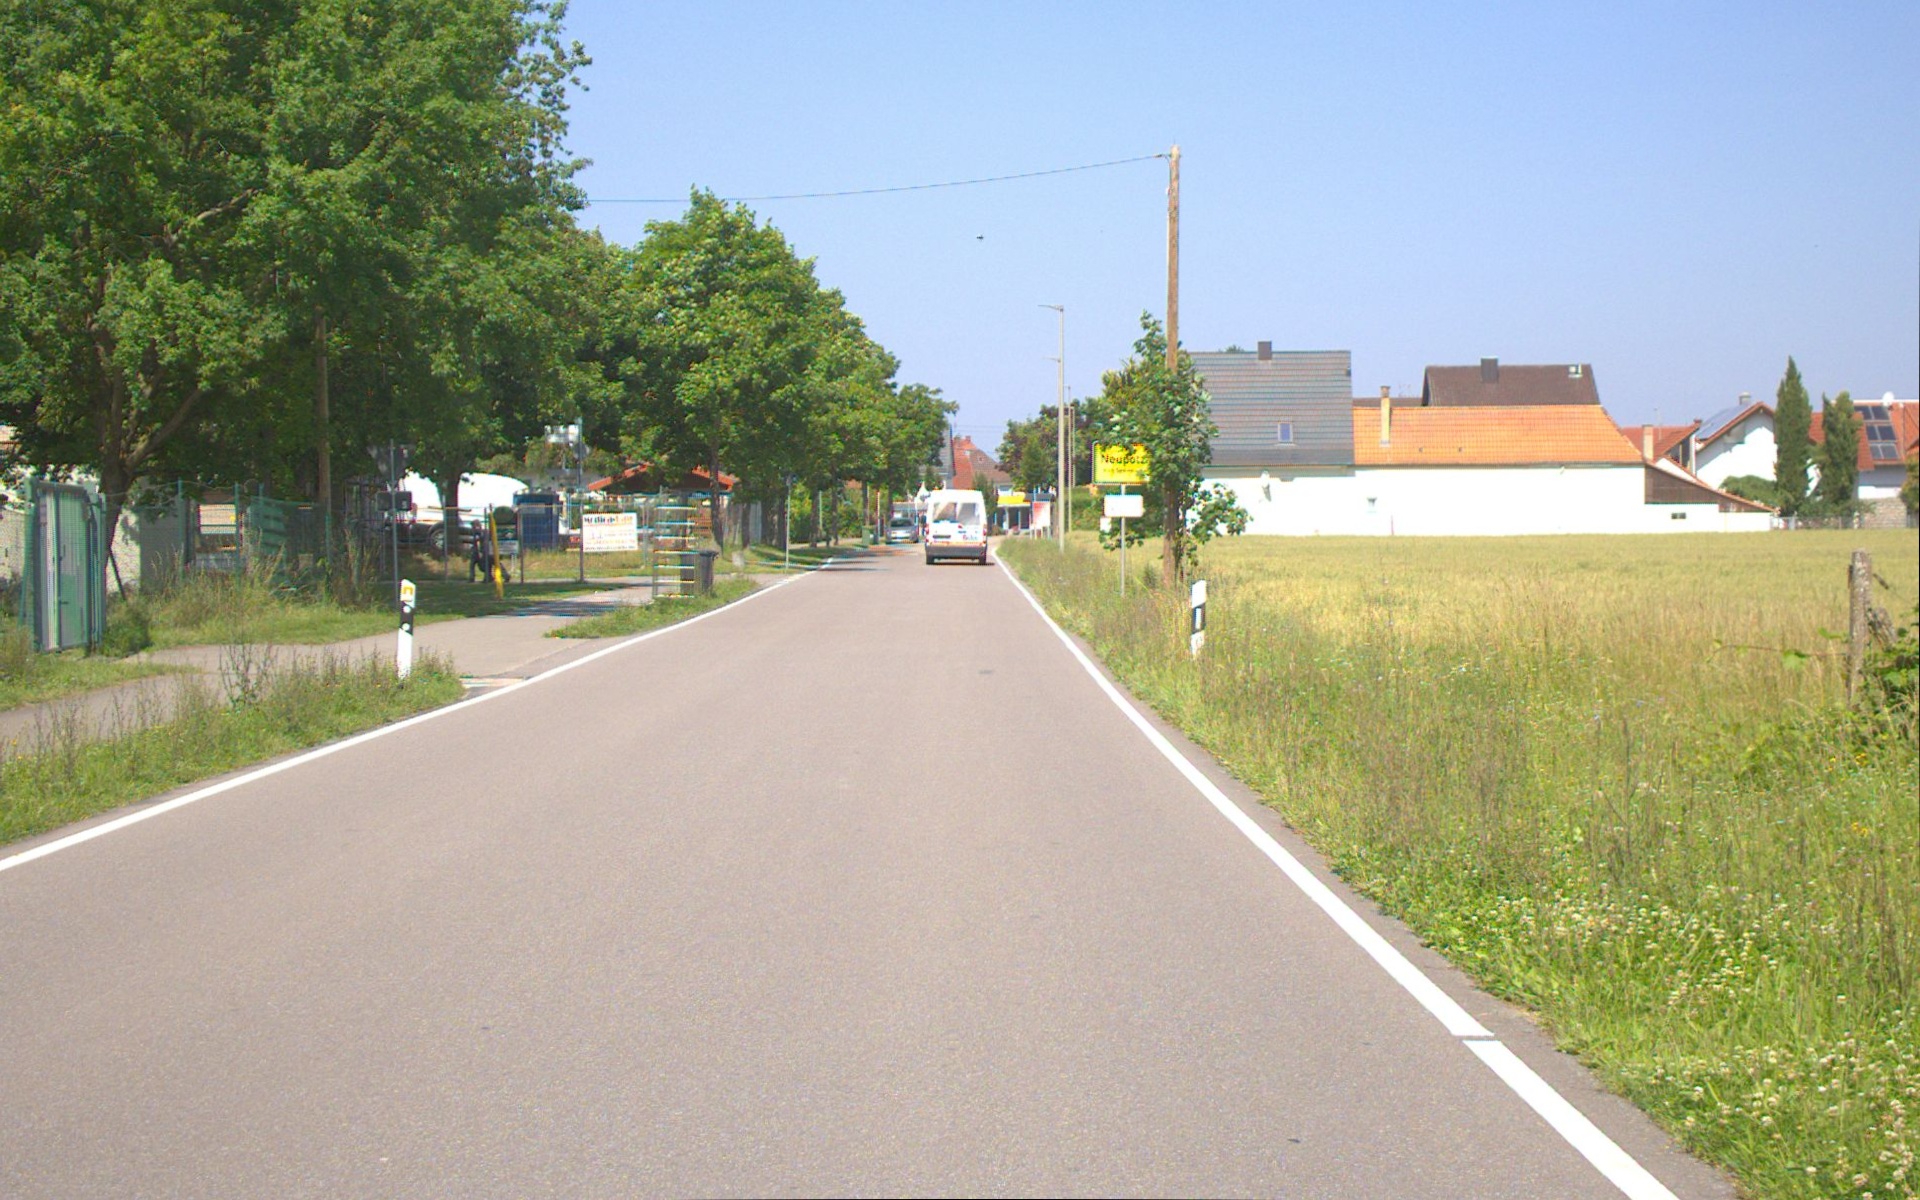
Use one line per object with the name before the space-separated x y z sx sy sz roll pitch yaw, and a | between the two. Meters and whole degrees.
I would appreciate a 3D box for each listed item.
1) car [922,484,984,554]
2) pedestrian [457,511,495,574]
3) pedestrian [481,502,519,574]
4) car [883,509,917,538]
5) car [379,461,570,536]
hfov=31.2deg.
car | -0.235 -2.698 114.097 1.993 2.258 4.726 -1 1 0
pedestrian | -12.092 -1.430 85.923 0.677 1.560 0.718 0 1 16
pedestrian | -11.596 -1.561 86.653 0.720 1.796 0.710 0 1 16
car | -3.323 -4.241 191.243 1.771 1.585 4.000 -1 1 0
car | -14.981 -3.135 106.240 5.596 2.258 1.999 -2 2 -38
